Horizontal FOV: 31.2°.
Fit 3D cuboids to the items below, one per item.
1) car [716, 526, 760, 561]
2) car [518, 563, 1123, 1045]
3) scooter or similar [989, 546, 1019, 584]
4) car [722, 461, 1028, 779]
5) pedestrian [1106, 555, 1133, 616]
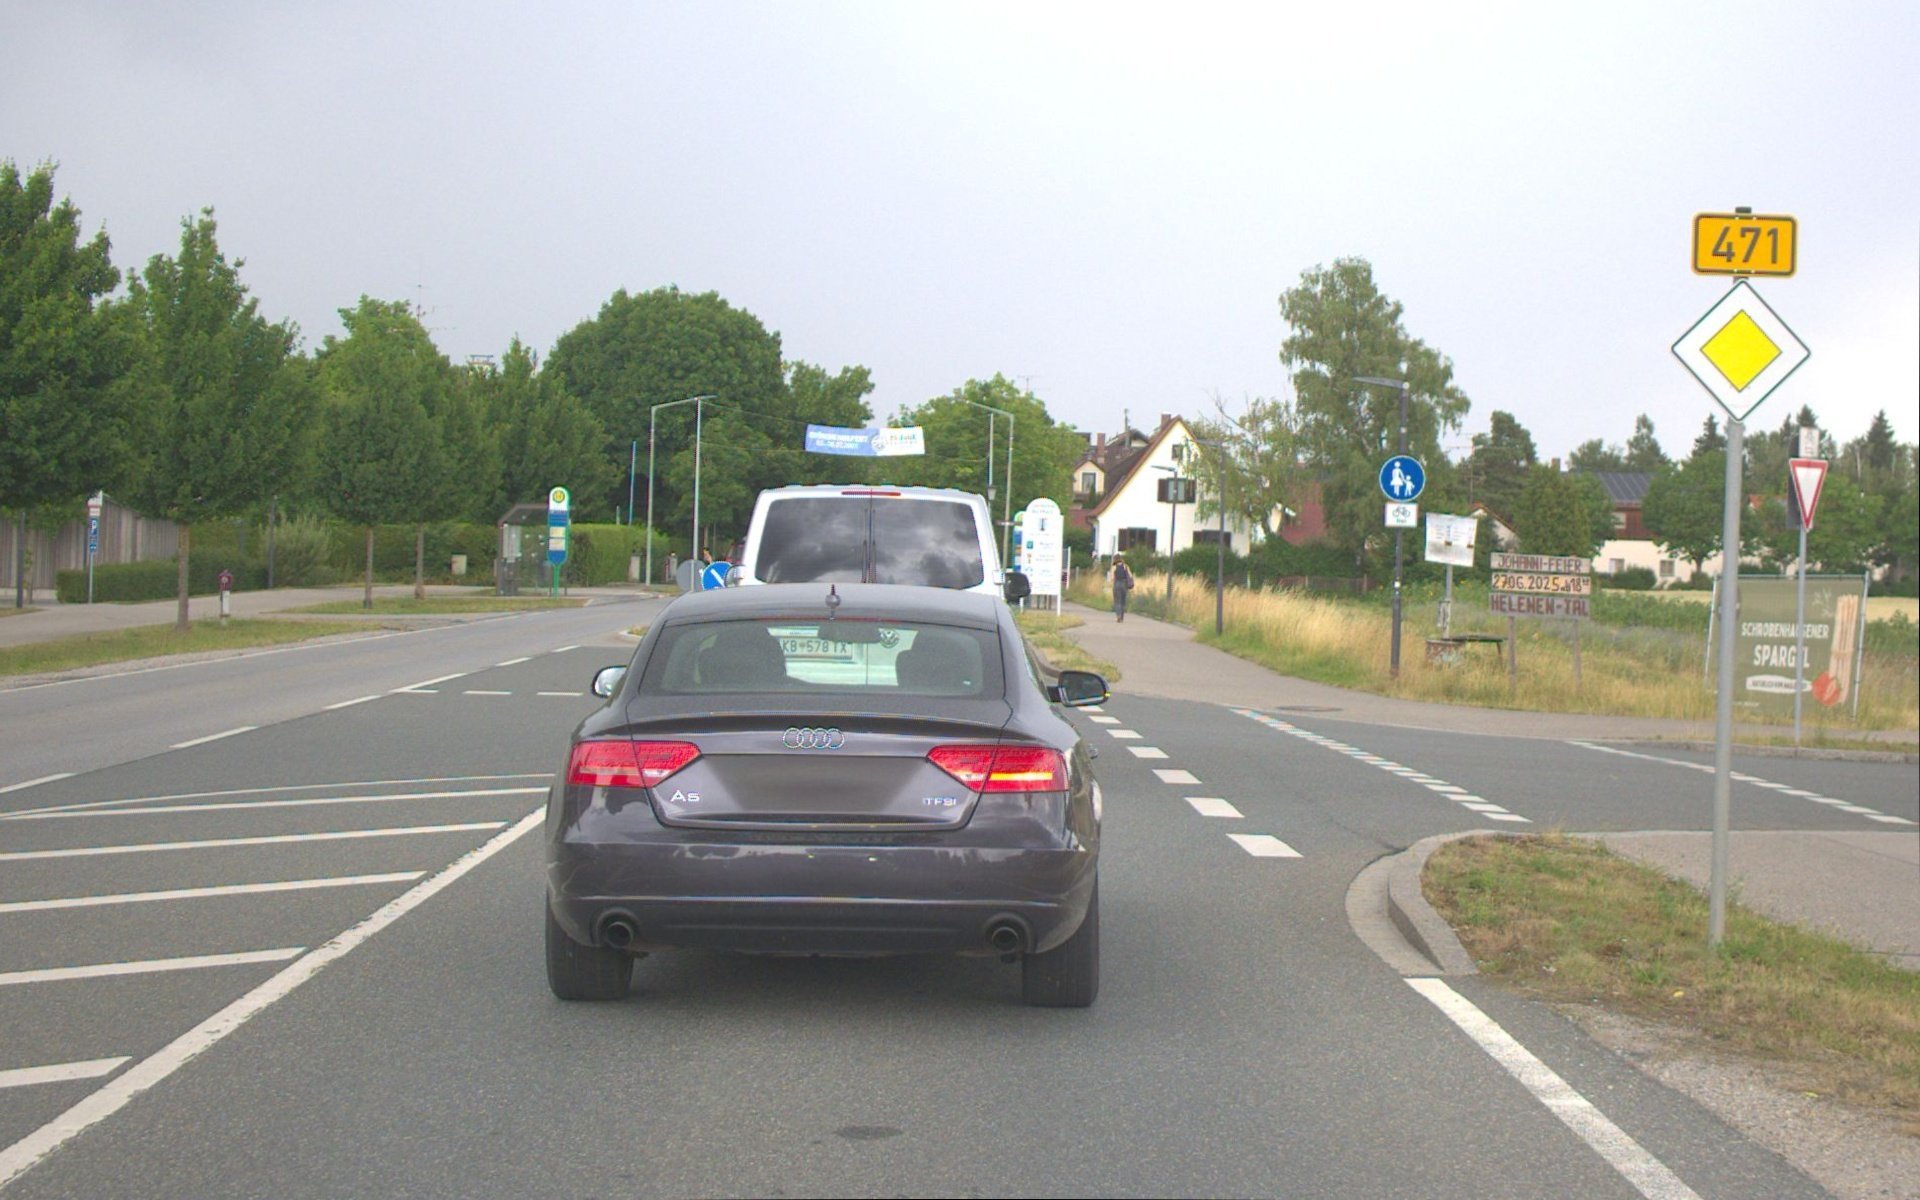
[{"bbox_3d":[-9.233,-2.351,142.930,1.653,1.424,3.602,0,1,-1],"label":"car"},{"bbox_3d":[-0.603,0.588,12.568,1.825,1.384,4.388,0,1,-5],"label":"car"},{"bbox_3d":[1.284,-1.040,100.893,0.848,1.100,1.094,0,1,0],"label":"scooter or similar"},{"bbox_3d":[-0.608,0.084,23.547,1.825,1.907,4.001,3,1,-2],"label":"car"},{"bbox_3d":[4.016,-0.360,86.552,0.623,1.519,0.680,0,1,-1],"label":"pedestrian"}]
